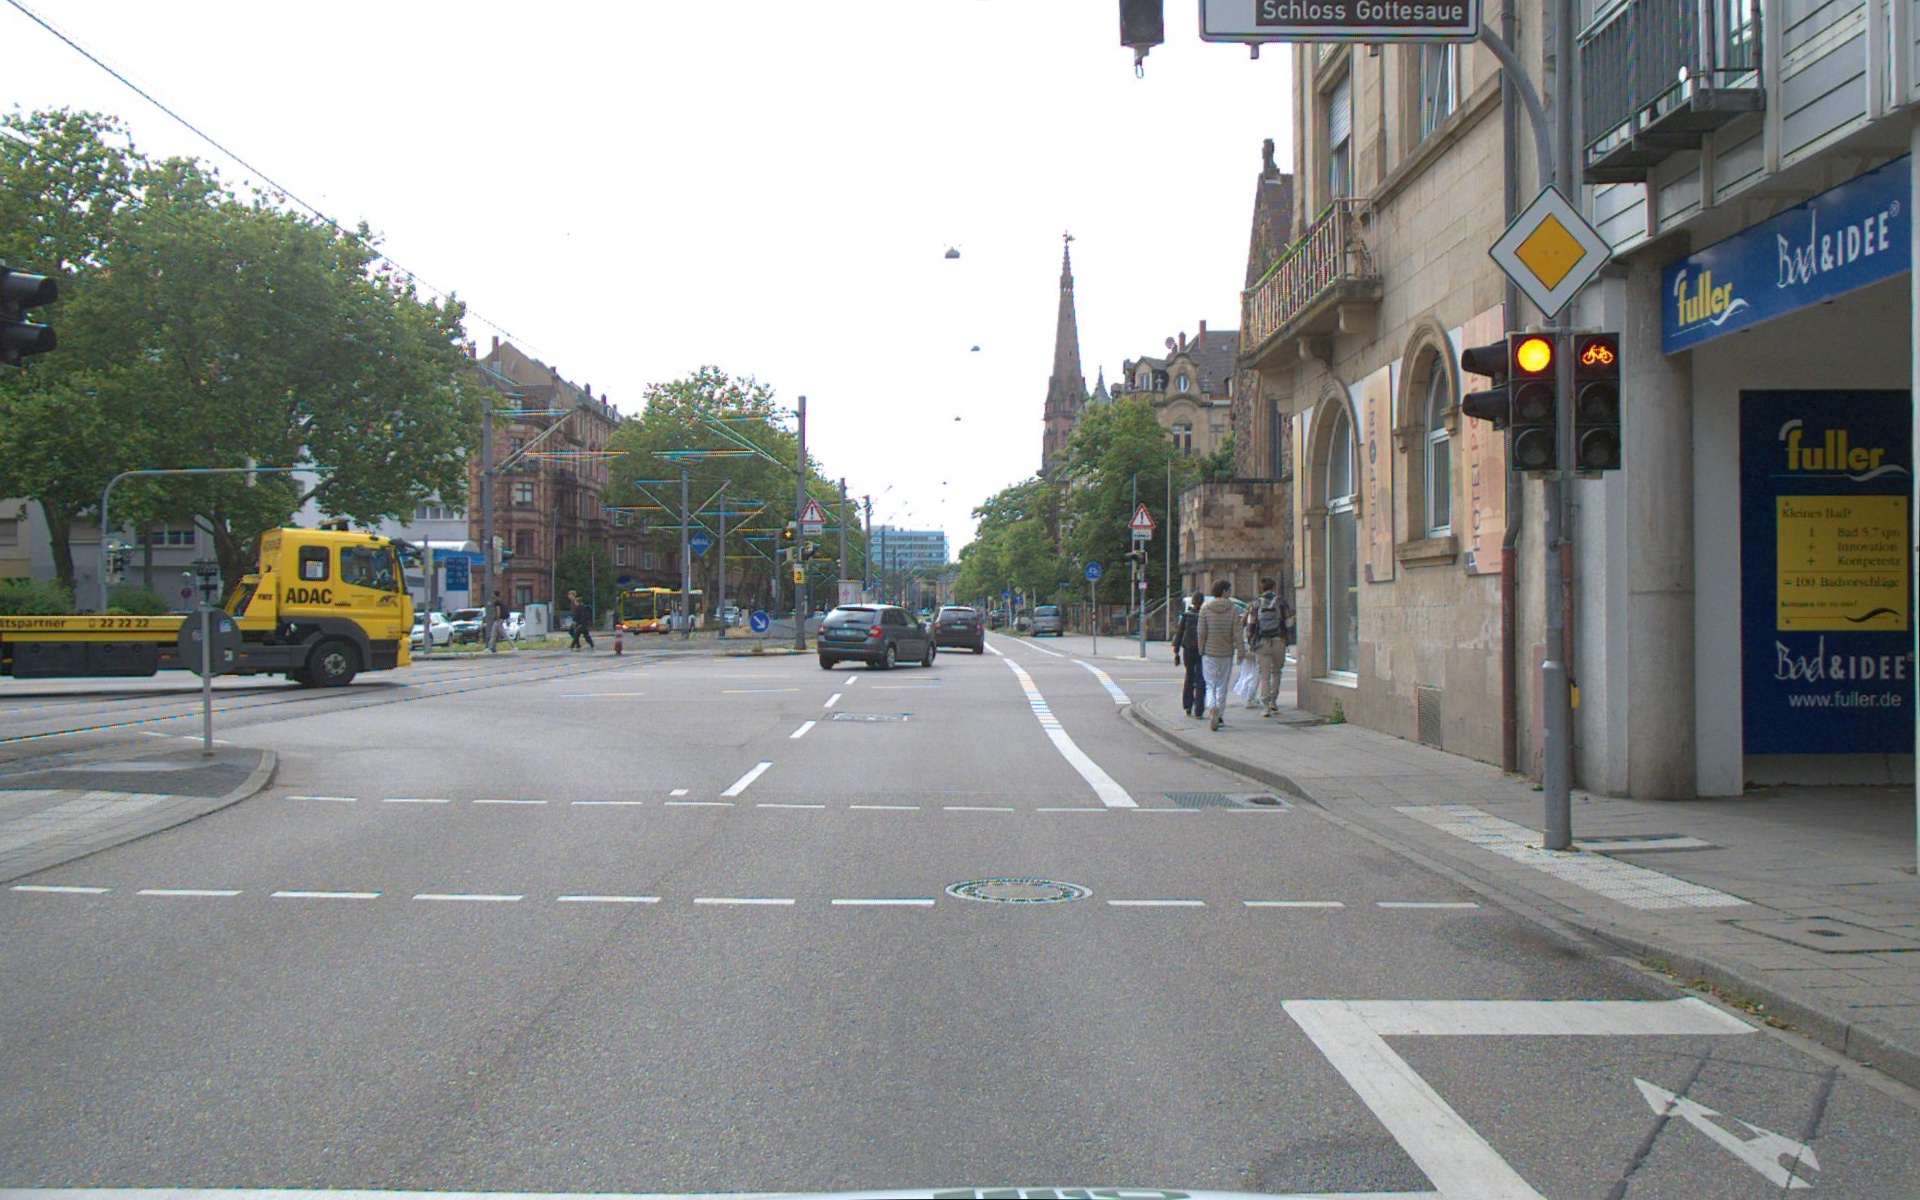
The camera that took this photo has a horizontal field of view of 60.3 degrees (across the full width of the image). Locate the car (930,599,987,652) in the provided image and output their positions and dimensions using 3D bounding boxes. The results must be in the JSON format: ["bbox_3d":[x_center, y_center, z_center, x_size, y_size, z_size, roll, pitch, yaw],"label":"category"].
[{"bbox_3d":[-0.079,0.815,53.982,1.769,1.614,4.340,1,-1,-1],"label":"car"}]

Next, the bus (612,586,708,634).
[{"bbox_3d":[-20.950,0.729,116.641,3.019,3.166,13.102,1,-1,6],"label":"bus"}]

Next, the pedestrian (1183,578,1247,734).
[{"bbox_3d":[3.132,0.673,20.237,0.571,1.845,1.015,1,-1,19],"label":"pedestrian"}]

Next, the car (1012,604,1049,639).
[{"bbox_3d":[4.202,1.284,99.709,1.953,2.049,3.999,1,-1,-1],"label":"car"}]

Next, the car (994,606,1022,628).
[{"bbox_3d":[3.737,1.295,128.515,1.953,1.635,4.163,-2,0,-1],"label":"car"}]

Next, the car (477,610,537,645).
[{"bbox_3d":[-21.549,1.299,78.798,1.856,1.585,3.835,1,-1,-1],"label":"car"}]

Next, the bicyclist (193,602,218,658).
[{"bbox_3d":[-24.711,0.977,54.152,0.522,1.815,0.470,1,-1,19],"label":"bicyclist"}]

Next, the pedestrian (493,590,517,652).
[{"bbox_3d":[-13.485,0.629,49.033,0.562,1.826,0.518,1,-1,-5],"label":"pedestrian"}]

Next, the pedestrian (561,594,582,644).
[{"bbox_3d":[-12.201,0.603,51.947,0.535,1.564,0.465,1,-1,-5],"label":"pedestrian"}]

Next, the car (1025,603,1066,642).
[{"bbox_3d":[4.632,1.212,90.167,1.953,2.049,3.999,1,-1,-1],"label":"car"}]

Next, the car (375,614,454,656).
[{"bbox_3d":[-21.396,1.356,64.989,1.856,1.585,3.835,1,-1,-1],"label":"car"}]

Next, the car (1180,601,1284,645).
[{"bbox_3d":[10.674,0.908,65.050,3.721,1.629,2.000,1,-1,-1],"label":"car"}]

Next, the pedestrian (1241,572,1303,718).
[{"bbox_3d":[4.024,0.574,21.408,0.613,1.809,1.135,-3,-1,6],"label":"pedestrian"}]

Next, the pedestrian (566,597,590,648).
[{"bbox_3d":[-11.865,0.703,51.370,0.640,1.564,0.465,1,-1,-5],"label":"pedestrian"}]

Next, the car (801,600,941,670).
[{"bbox_3d":[-1.981,0.783,38.128,1.797,1.495,3.993,1,-1,20],"label":"car"}]

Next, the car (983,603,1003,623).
[{"bbox_3d":[3.441,1.334,172.102,1.953,2.049,3.999,1,-1,-1],"label":"car"}]

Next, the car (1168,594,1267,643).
[{"bbox_3d":[10.627,0.779,68.461,3.721,1.937,2.000,1,-1,-1],"label":"car"}]

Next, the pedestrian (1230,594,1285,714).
[{"bbox_3d":[4.117,0.734,22.947,0.685,1.621,0.831,1,-1,7],"label":"pedestrian"}]

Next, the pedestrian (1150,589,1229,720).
[{"bbox_3d":[3.045,0.712,21.911,0.616,1.681,0.993,0,-1,36],"label":"pedestrian"}]

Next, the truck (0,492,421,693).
[{"bbox_3d":[-14.047,-0.108,26.379,10.055,2.992,2.606,1,0,-34],"label":"truck"}]

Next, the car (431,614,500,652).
[{"bbox_3d":[-21.487,1.413,71.966,1.856,1.585,3.835,1,-1,-1],"label":"car"}]
